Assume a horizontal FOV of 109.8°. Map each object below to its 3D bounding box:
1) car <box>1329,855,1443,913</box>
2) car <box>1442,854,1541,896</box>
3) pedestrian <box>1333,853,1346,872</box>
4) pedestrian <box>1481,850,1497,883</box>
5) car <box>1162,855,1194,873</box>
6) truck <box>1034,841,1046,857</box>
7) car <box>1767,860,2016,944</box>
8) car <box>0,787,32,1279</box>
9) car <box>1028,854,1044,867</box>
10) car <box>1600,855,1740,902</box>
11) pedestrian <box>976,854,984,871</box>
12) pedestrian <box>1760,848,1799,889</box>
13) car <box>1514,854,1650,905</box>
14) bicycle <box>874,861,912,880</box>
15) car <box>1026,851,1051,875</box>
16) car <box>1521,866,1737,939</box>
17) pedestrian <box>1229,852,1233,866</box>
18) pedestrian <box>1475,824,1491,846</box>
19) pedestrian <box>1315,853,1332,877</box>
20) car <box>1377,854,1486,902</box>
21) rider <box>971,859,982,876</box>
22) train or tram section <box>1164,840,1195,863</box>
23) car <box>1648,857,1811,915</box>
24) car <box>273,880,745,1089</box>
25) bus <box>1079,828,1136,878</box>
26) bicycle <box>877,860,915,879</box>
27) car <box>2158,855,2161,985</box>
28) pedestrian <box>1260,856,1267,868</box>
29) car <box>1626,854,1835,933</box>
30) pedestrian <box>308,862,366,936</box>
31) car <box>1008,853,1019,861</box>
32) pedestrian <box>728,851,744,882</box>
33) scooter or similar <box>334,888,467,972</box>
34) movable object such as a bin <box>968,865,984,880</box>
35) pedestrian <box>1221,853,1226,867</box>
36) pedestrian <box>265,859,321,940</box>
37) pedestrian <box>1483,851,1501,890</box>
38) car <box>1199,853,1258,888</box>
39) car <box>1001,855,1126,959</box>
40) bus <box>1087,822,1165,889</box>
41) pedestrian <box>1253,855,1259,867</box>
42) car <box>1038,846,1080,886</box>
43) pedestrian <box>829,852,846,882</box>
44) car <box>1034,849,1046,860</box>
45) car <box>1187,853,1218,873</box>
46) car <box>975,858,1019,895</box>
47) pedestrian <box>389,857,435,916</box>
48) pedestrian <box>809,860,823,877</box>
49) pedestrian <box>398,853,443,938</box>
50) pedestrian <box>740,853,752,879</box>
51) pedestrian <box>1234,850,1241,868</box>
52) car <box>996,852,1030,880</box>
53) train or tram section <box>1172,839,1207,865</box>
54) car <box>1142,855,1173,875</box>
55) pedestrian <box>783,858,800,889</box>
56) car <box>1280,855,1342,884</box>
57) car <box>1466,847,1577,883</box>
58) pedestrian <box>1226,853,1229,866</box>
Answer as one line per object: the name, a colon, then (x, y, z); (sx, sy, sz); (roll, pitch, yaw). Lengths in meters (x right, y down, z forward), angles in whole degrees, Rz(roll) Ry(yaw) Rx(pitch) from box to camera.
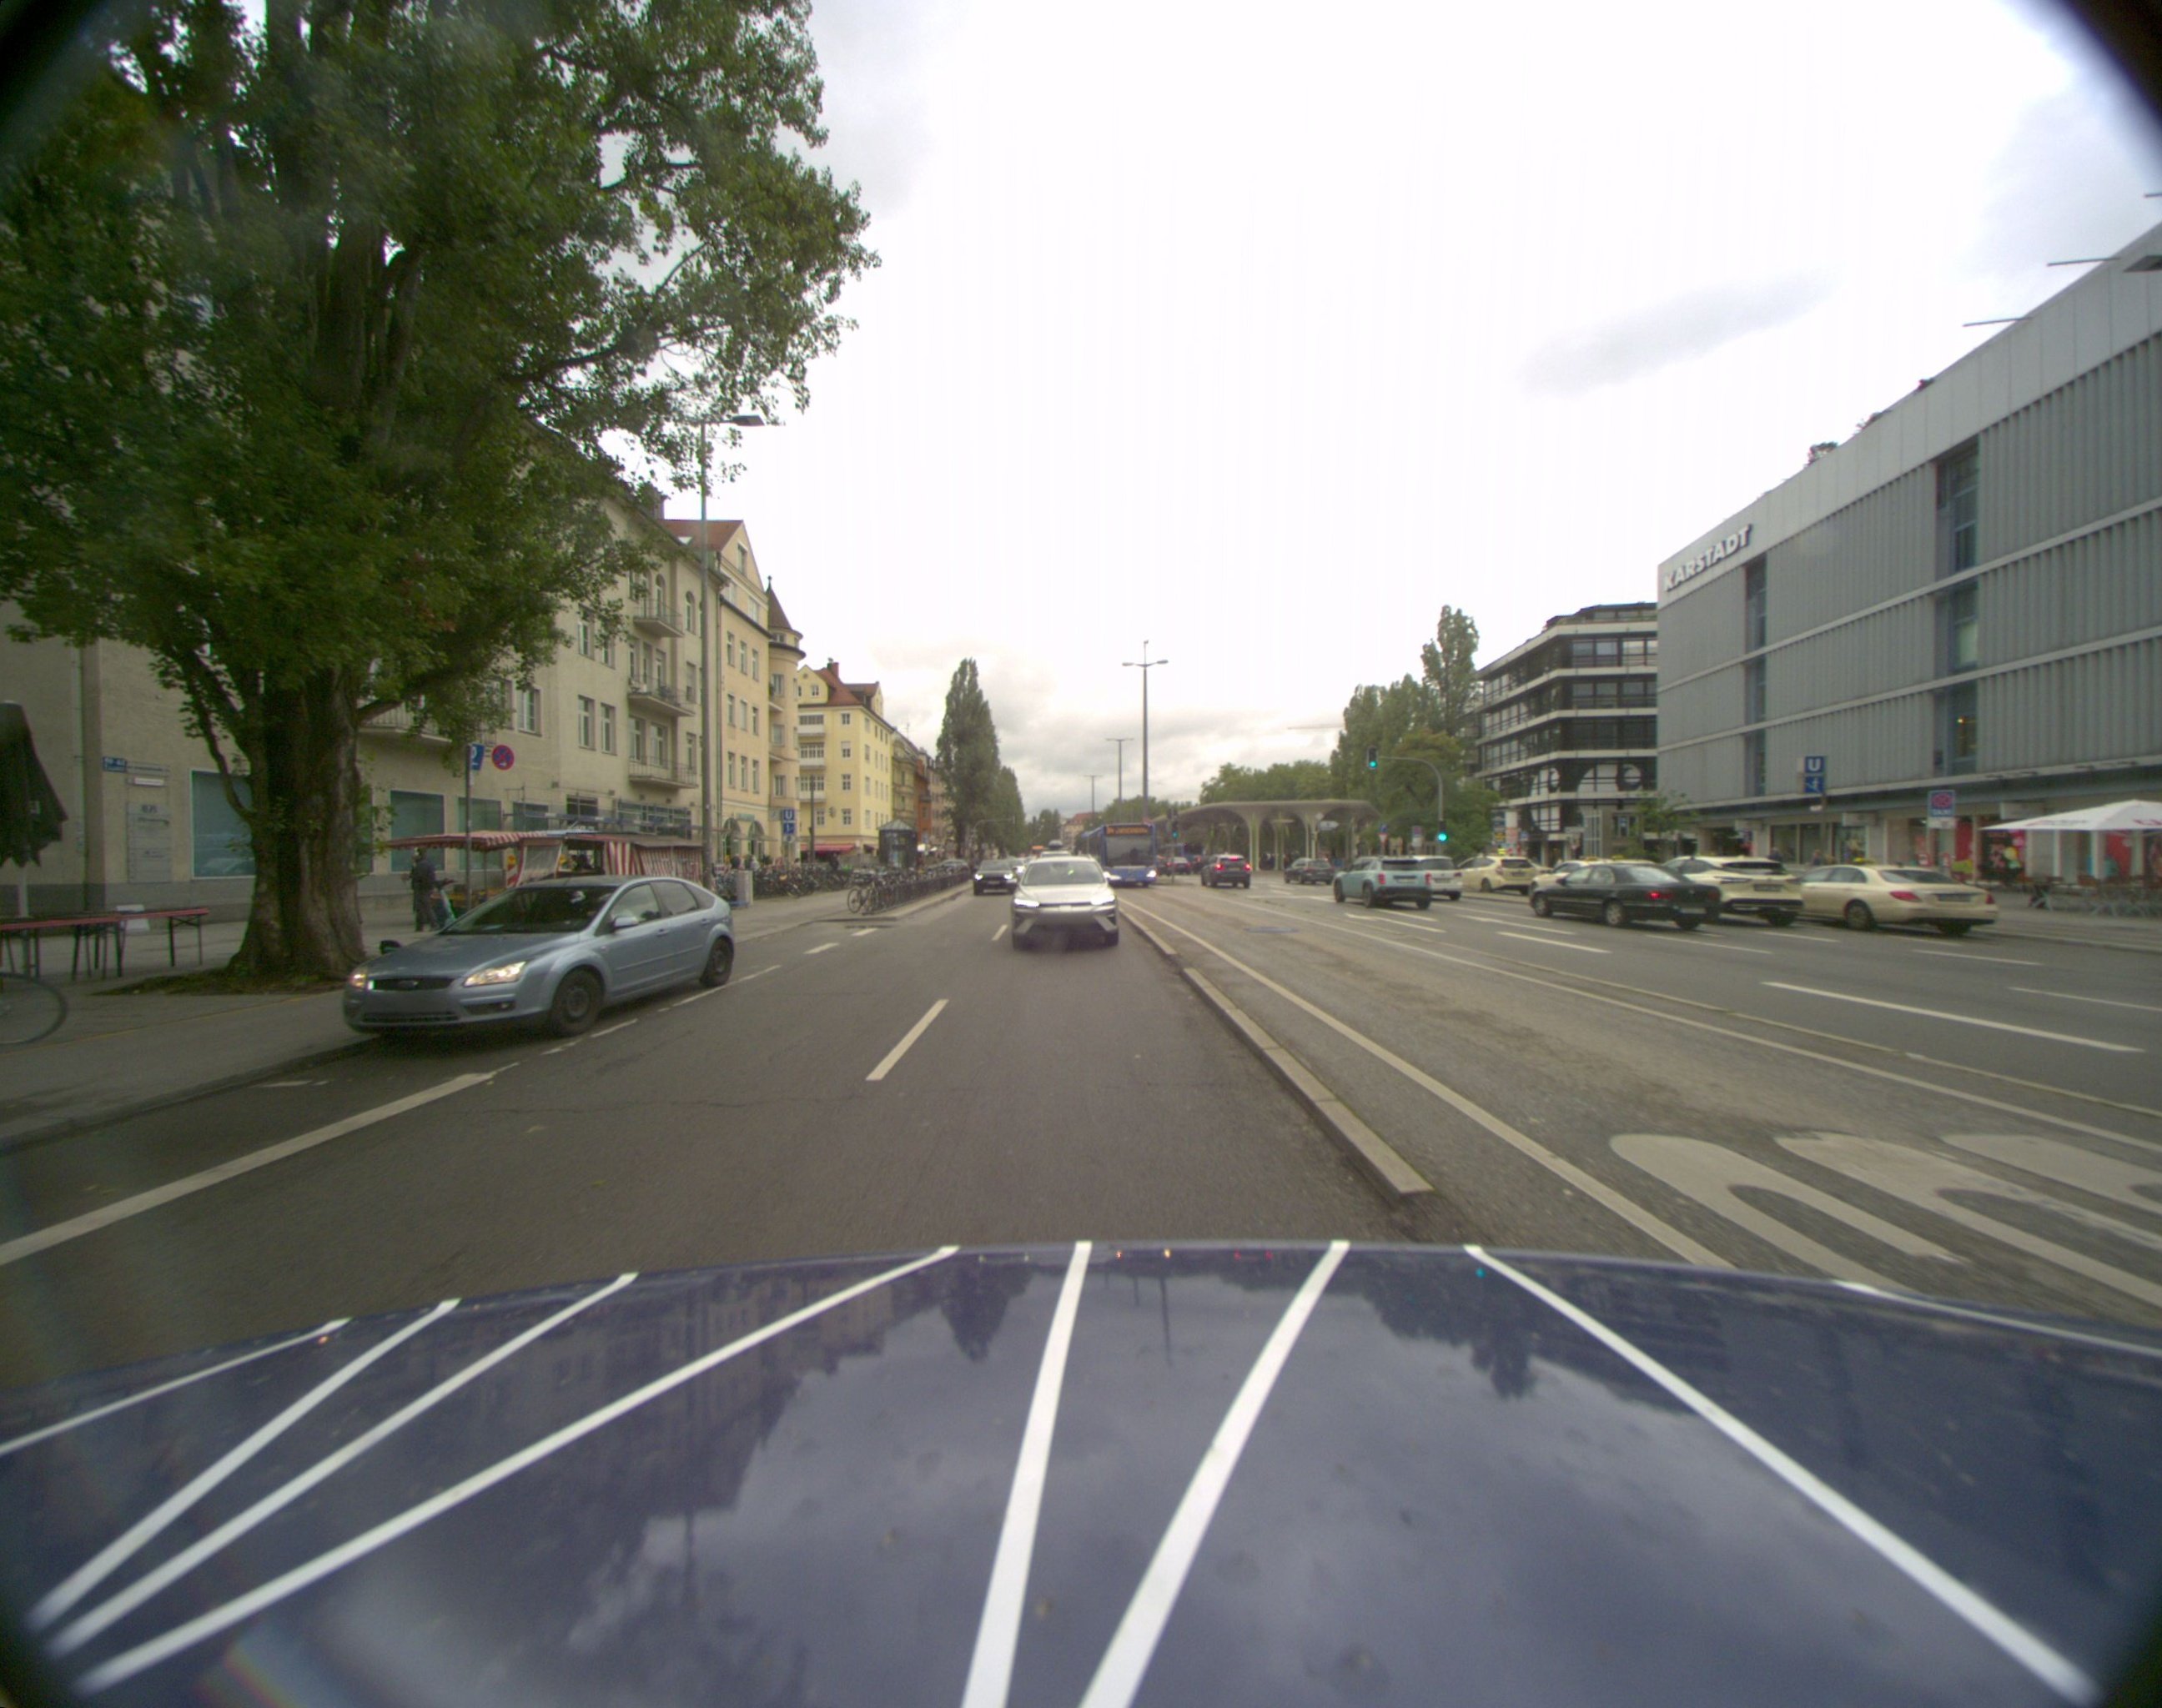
car: (9.158, 0.848, 23.202); (1.822, 1.536, 4.000); (2, 0, 0)
car: (17.036, 0.814, 31.811); (1.591, 1.602, 4.475); (0, 0, -2)
pedestrian: (23.900, 0.802, 70.365); (0.861, 1.767, 0.980); (0, 1, -1)
pedestrian: (22.333, 0.675, 41.598); (0.562, 1.768, 0.510); (-2, 1, 1)
car: (8.528, 0.853, 67.258); (1.999, 1.499, 5.020); (0, 0, -2)
truck: (-9.146, -1.142, 171.136); (2.541, 3.468, 7.750); (0, 0, -2)
car: (17.994, 0.963, 17.195); (1.775, 1.607, 4.003); (0, 0, 9)
car: (-5.709, 0.542, 0.568); (1.999, 2.726, 5.553); (-2, 1, 0)
car: (-5.730, 0.772, 96.735); (1.999, 1.630, 3.998); (0, 0, -4)
car: (20.961, 0.829, 27.271); (1.911, 1.558, 4.000); (0, 0, 0)
pedestrian: (-10.592, 0.907, 79.534); (0.732, 1.792, 0.710); (0, 2, -11)
pedestrian: (26.823, 0.548, 29.179); (0.732, 1.537, 0.900); (0, 0, 11)
car: (16.754, 0.783, 25.755); (1.949, 1.531, 4.850); (0, 0, 8)
bicycle: (-12.070, 1.044, 48.782); (2.318, 1.220, 0.628); (0, 1, 0)
car: (-3.372, 0.664, 60.838); (1.873, 1.760, 4.234); (-2, 1, -2)
car: (12.455, 1.013, 17.741); (1.733, 1.401, 4.688); (0, 0, 1)
pedestrian: (16.439, 0.577, 83.010); (0.335, 1.493, 0.317); (0, 1, -11)
pedestrian: (24.077, -1.162, 45.557); (0.544, 1.301, 0.774); (0, 1, -1)
pedestrian: (16.119, 0.709, 50.505); (0.640, 1.542, 0.759); (-2, 1, -27)
car: (12.607, 0.819, 27.639); (1.998, 1.591, 4.289); (0, 0, 0)
rider: (-7.625, 0.986, 55.341); (0.732, 1.234, 0.732); (1, 1, -5)
train or tram section: (12.737, -0.320, 99.042); (2.841, 2.983, 7.405); (0, 0, -2)
car: (19.174, 0.882, 22.734); (1.756, 1.527, 4.002); (0, 0, 6)
car: (-5.489, 1.116, 8.135); (1.729, 1.445, 4.148); (-3, 0, 2)
bus: (1.558, -0.122, 50.879); (2.942, 2.927, 11.209); (-1, 1, -2)
bicycle: (-12.036, 1.034, 49.417); (2.318, 1.220, 0.628); (0, 1, 0)
car: (15.576, 0.791, 7.623); (1.998, 2.002, 5.321); (1, 0, 1)
pedestrian: (19.668, 0.859, 81.918); (0.549, 1.330, 0.592); (0, 1, -3)
car: (15.787, 0.863, 18.848); (1.888, 1.689, 4.386); (1, 0, 9)
pedestrian: (-16.220, 0.962, 16.568); (0.643, 1.574, 0.635); (0, 1, 6)
car: (-13.556, 0.645, 153.662); (1.999, 1.630, 3.999); (0, 0, -2)
pedestrian: (-19.462, 0.676, 42.916); (0.618, 1.728, 0.644); (1, 0, -3)
scooter or similar: (-10.358, 1.137, 11.610); (1.471, 1.200, 0.400); (0, 1, -20)
movable object such as a bin: (-7.640, 1.334, 55.309); (1.090, 1.056, 0.747); (1, 1, -5)
pedestrian: (15.583, 0.691, 83.267); (0.426, 1.493, 0.490); (0, 1, 24)
pedestrian: (-16.970, 0.963, 16.376); (0.580, 1.691, 0.597); (0, 1, 6)
pedestrian: (18.354, 0.748, 33.957); (0.525, 1.719, 0.428); (-2, 1, -3)
car: (7.269, 0.771, 37.868); (1.999, 1.611, 4.412); (1, 0, 0)
car: (-0.309, 0.825, 13.798); (1.896, 1.483, 3.999); (-2, 1, -1)
bus: (2.060, 0.006, 39.719); (2.942, 2.927, 11.209); (-1, 1, -2)
pedestrian: (18.844, 0.752, 81.925); (0.549, 1.330, 0.592); (0, 1, -3)
car: (-1.149, 0.581, 39.138); (1.999, 1.889, 4.234); (-2, 1, -2)
pedestrian: (-14.282, 0.751, 44.530); (0.741, 1.698, 0.703); (-1, 1, -43)
car: (-6.439, 0.054, 118.571); (1.859, 1.696, 3.999); (0, 0, -3)
car: (11.034, 0.807, 69.378); (1.999, 1.767, 4.598); (0, 0, -1)
car: (-3.647, 0.953, 33.639); (1.740, 1.461, 4.049); (-1, 0, -4)
pedestrian: (-18.969, 0.898, 21.553); (0.602, 1.641, 0.765); (0, 1, 5)
pedestrian: (-19.713, 1.074, 56.524); (0.701, 1.238, 0.918); (0, 2, -3)
pedestrian: (-14.016, 0.857, 16.124); (0.718, 1.760, 0.611); (1, 1, 39)
pedestrian: (-20.082, 0.715, 45.587); (0.567, 1.533, 0.589); (-1, 2, -19)
pedestrian: (16.306, 0.500, 79.192); (0.666, 1.840, 0.789); (0, 1, 18)
car: (-4.600, 0.805, 51.929); (1.999, 1.740, 3.999); (-2, 1, -2)
train or tram section: (13.017, -0.233, 91.639); (2.841, 2.983, 7.405); (0, 0, -2)
car: (5.931, 0.815, 59.096); (1.563, 1.498, 2.785); (-1, 1, -15)
pedestrian: (-14.850, 0.977, 38.993); (0.661, 1.573, 0.537); (0, 1, 4)
car: (12.954, 0.839, 43.102); (1.964, 1.537, 4.947); (0, 0, -1)
car: (19.967, 0.472, 34.639); (1.861, 1.502, 4.292); (0, 0, -16)
pedestrian: (16.026, 0.604, 83.143); (0.320, 1.493, 0.317); (0, 1, -11)
